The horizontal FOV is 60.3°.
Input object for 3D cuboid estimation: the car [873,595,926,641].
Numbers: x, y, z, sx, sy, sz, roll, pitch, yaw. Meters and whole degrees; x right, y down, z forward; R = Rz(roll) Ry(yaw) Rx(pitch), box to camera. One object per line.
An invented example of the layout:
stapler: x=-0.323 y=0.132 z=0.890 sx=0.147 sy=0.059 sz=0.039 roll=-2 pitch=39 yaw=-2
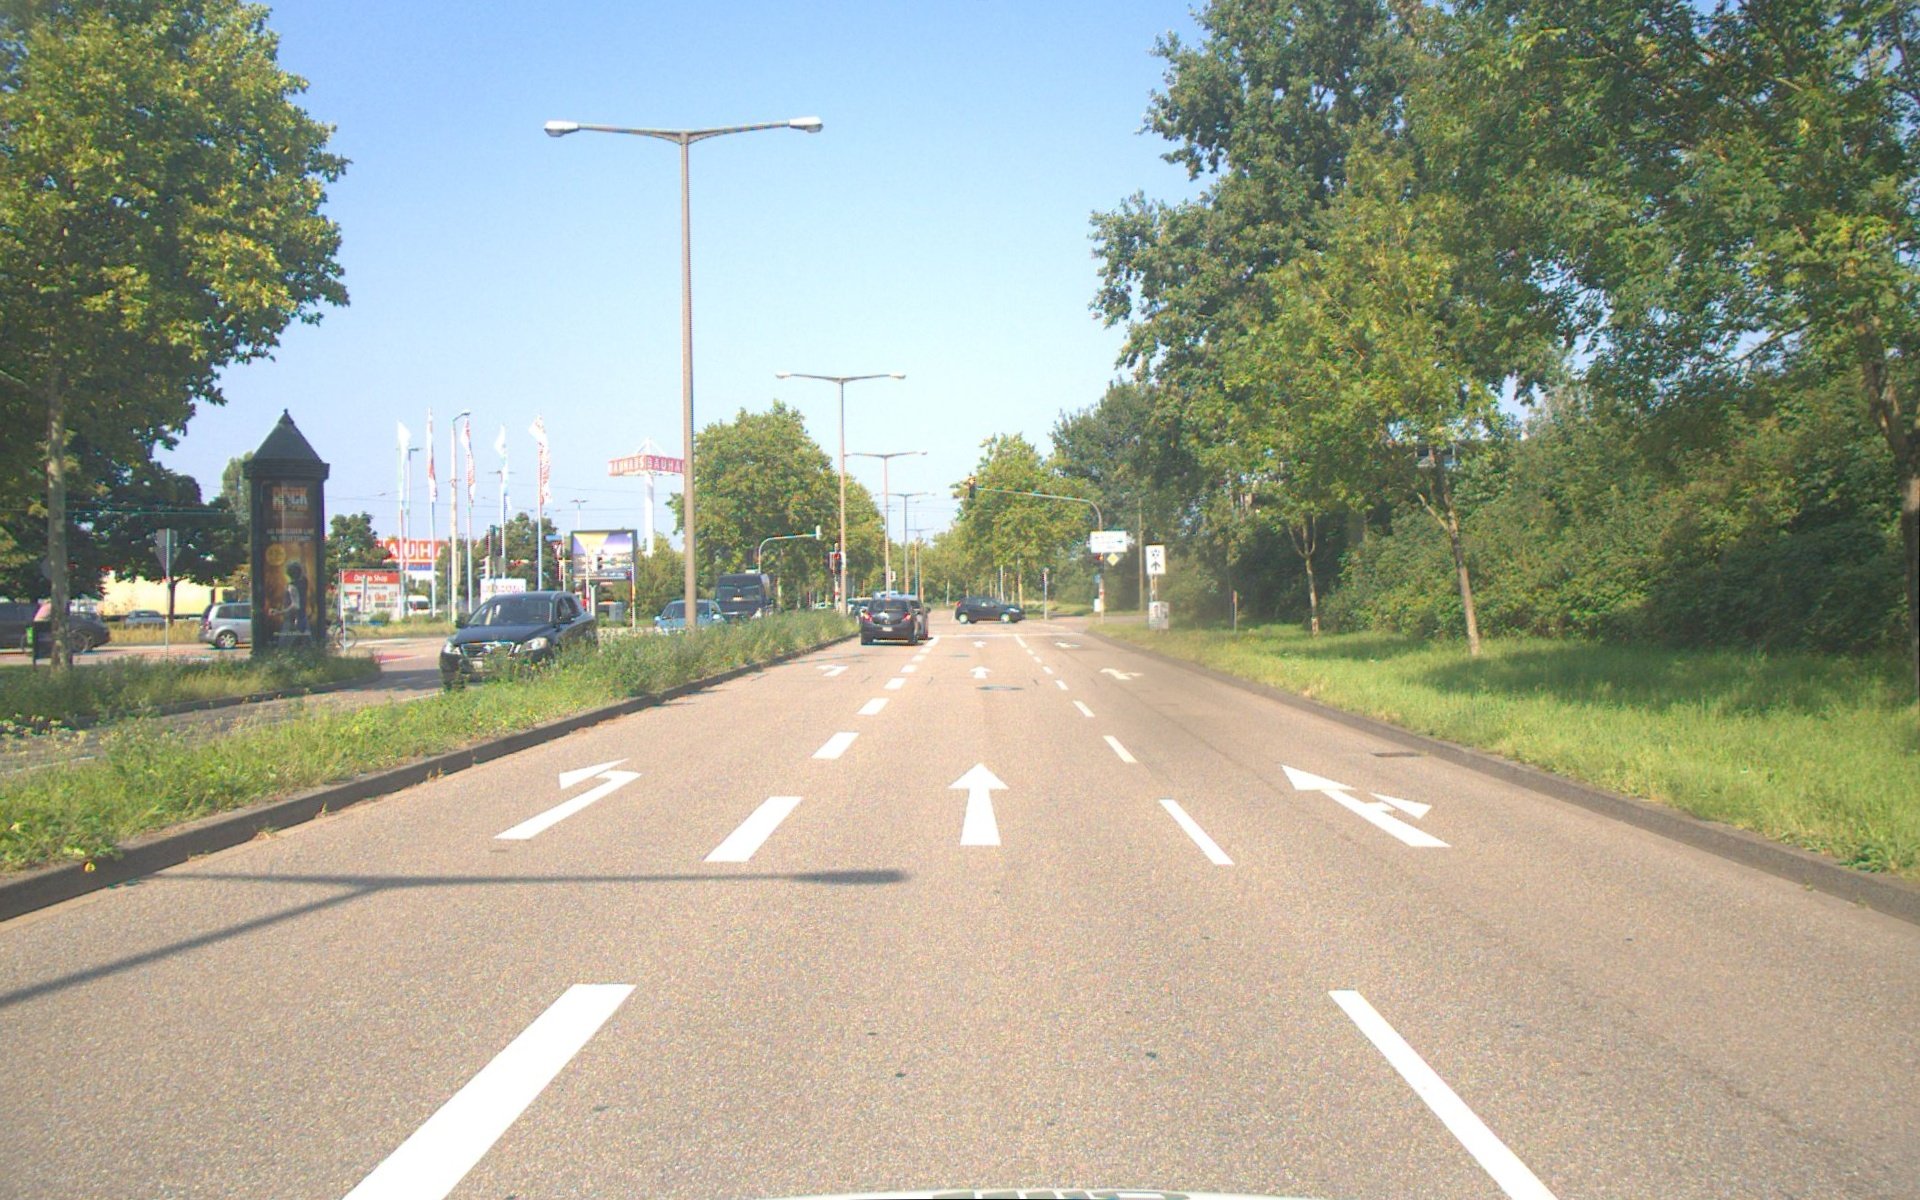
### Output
car: x=-2.104 y=0.608 z=58.168 sx=1.657 sy=1.512 sz=4.000 roll=-1 pitch=0 yaw=0

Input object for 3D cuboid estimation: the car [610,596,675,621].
car: x=-18.413 y=0.493 z=95.925 sx=3.303 sy=1.156 sz=1.495 roll=-4 pitch=0 yaw=9

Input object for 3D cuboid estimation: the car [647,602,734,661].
car: x=-7.501 y=0.852 z=46.373 sx=1.736 sy=1.601 sz=4.000 roll=0 pitch=0 yaw=1

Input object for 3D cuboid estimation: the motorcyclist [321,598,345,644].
motorcyclist: x=-22.140 y=0.728 z=58.397 sx=0.676 sy=1.599 sz=0.675 roll=0 pitch=-1 yaw=-35

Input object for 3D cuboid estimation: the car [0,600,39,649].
car: x=-32.724 y=0.801 z=54.226 sx=4.266 sy=1.606 sz=1.551 roll=0 pitch=0 yaw=-38

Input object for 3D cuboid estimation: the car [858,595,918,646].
car: x=-2.229 y=0.612 z=52.251 sx=1.657 sy=1.512 sz=4.000 roll=-1 pitch=0 yaw=0

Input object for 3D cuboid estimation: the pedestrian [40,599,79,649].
pedestrian: x=-29.052 y=0.757 z=53.362 sx=1.046 sy=1.602 sz=0.858 roll=0 pitch=-1 yaw=-35

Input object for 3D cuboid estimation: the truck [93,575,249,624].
truck: x=-52.454 y=-0.062 z=110.101 sx=8.912 sy=3.009 sz=3.470 roll=-2 pitch=0 yaw=-36

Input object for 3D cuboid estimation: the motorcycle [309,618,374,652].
motorcycle: x=-21.898 y=1.230 z=58.559 sx=2.052 sy=1.156 sz=0.669 roll=0 pitch=-1 yaw=-35

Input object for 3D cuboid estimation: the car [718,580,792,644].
car: x=-7.879 y=0.461 z=64.234 sx=2.068 sy=2.373 sz=6.282 roll=0 pitch=0 yaw=0

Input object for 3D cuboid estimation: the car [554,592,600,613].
car: x=-38.445 y=0.288 z=165.968 sx=1.959 sy=2.049 sz=4.276 roll=0 pitch=0 yaw=35

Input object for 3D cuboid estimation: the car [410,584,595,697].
car: x=-7.728 y=0.641 z=28.410 sx=1.953 sy=1.736 sz=4.503 roll=-1 pitch=0 yaw=-1

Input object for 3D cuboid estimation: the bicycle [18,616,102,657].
bicycle: x=-29.038 y=1.170 z=53.383 sx=2.334 sy=1.257 sz=0.863 roll=0 pitch=0 yaw=-36

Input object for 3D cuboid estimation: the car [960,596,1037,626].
car: x=2.102 y=0.598 z=89.989 sx=3.877 sy=1.560 sz=1.825 roll=0 pitch=0 yaw=12

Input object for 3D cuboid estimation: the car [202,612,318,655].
car: x=-25.218 y=1.180 z=59.656 sx=3.661 sy=1.468 sz=1.448 roll=0 pitch=0 yaw=-36
